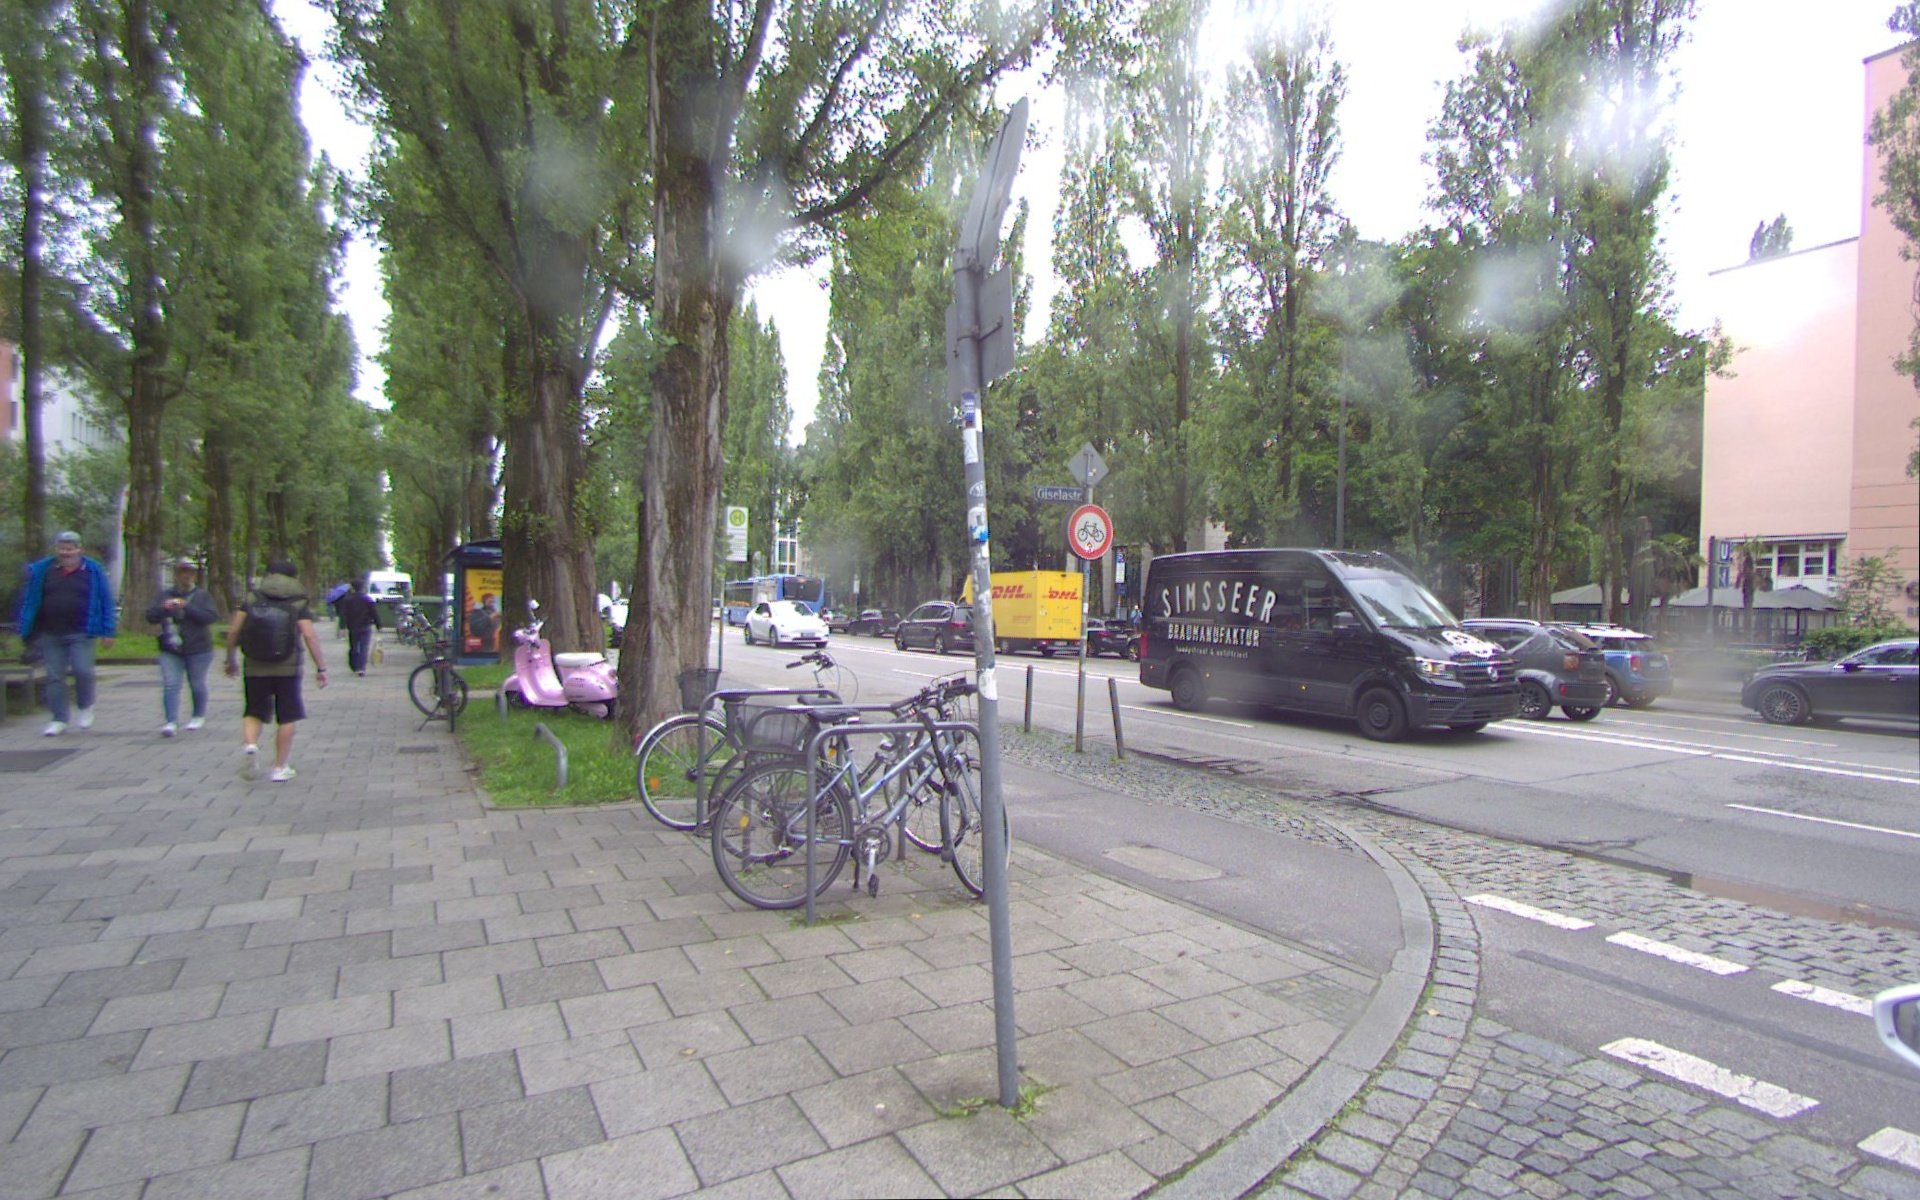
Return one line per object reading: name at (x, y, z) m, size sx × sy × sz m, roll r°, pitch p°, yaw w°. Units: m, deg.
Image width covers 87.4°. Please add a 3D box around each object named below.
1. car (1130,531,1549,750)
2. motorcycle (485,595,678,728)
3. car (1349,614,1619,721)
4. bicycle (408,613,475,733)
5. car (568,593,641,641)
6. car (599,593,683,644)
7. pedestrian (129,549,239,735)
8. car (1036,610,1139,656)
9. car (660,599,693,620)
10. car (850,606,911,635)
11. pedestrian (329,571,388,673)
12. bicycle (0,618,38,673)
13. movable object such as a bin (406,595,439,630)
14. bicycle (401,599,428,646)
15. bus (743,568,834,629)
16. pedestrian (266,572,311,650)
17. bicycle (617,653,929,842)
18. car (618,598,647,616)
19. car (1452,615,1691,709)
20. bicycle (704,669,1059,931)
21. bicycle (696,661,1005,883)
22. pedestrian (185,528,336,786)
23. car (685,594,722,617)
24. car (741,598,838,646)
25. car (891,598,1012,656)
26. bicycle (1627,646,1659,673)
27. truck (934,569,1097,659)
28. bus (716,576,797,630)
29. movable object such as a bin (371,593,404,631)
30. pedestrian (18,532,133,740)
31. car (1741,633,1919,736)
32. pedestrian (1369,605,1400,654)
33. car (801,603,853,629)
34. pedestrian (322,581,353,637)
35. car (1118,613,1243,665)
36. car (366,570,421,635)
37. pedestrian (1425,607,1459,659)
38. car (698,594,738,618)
car at (5.227, 0.464, 14.958) m, size 2.058 × 2.590 × 5.884 m, roll 0°, pitch 0°, yaw -30°
motorcycle at (-4.234, 0.652, 11.234) m, size 1.952 × 1.211 × 0.630 m, roll 6°, pitch 1°, yaw 16°
car at (8.861, 1.074, 17.298) m, size 1.826 × 1.547 × 3.725 m, roll 2°, pitch -1°, yaw -28°
bicycle at (-5.767, 0.758, 11.135) m, size 0.576 × 1.204 × 1.603 m, roll 1°, pitch 0°, yaw -30°
car at (-14.057, 0.689, 39.613) m, size 1.990 × 1.780 × 3.967 m, roll 1°, pitch -2°, yaw -31°
car at (-10.797, 0.597, 33.845) m, size 1.988 × 1.602 × 3.970 m, roll 1°, pitch 0°, yaw -29°
pedestrian at (-7.665, 0.393, 9.928) m, size 0.634 × 1.750 × 0.701 m, roll 1°, pitch 0°, yaw 36°
car at (4.612, 1.183, 36.839) m, size 1.772 × 1.431 × 3.851 m, roll 2°, pitch 1°, yaw -29°
car at (-25.605, 0.831, 90.701) m, size 1.976 × 1.745 × 4.089 m, roll 3°, pitch -1°, yaw -29°
car at (-4.201, 1.061, 52.651) m, size 1.772 × 1.431 × 3.851 m, roll 1°, pitch 0°, yaw -29°
pedestrian at (-10.647, 0.386, 17.795) m, size 0.849 × 1.734 × 0.950 m, roll 1°, pitch 0°, yaw -32°
bicycle at (-16.970, 0.768, 17.104) m, size 1.782 × 0.925 × 0.615 m, roll 1°, pitch 0°, yaw -33°
movable object such as a bin at (-21.194, 0.496, 39.593) m, size 1.052 × 1.329 × 0.975 m, roll 1°, pitch 0°, yaw -33°
bicycle at (-14.890, 0.595, 27.396) m, size 0.576 × 1.204 × 2.124 m, roll 1°, pitch 0°, yaw -29°
bus at (-9.635, -0.025, 55.702) m, size 2.887 × 3.092 × 8.465 m, roll 1°, pitch -1°, yaw -25°
pedestrian at (-15.098, 0.246, 22.610) m, size 0.726 × 1.715 × 0.642 m, roll 1°, pitch 0°, yaw -26°
bicycle at (-1.209, 0.918, 6.656) m, size 1.957 × 1.108 × 0.488 m, roll 1°, pitch 0°, yaw -25°
car at (-34.786, 0.755, 106.654) m, size 1.976 × 1.745 × 4.779 m, roll 3°, pitch -1°, yaw -29°
car at (13.057, 1.260, 21.706) m, size 1.773 × 1.754 × 4.044 m, roll 3°, pitch -1°, yaw -31°
bicycle at (-0.366, 0.917, 4.990) m, size 1.680 × 1.108 × 0.488 m, roll 1°, pitch 0°, yaw -25°
bicycle at (-0.607, 0.919, 5.751) m, size 1.680 × 1.108 × 0.488 m, roll 1°, pitch 0°, yaw -25°
pedestrian at (-5.159, 0.411, 7.462) m, size 0.742 × 1.796 × 0.701 m, roll 2°, pitch -1°, yaw -25°
car at (-21.057, 0.457, 82.409) m, size 1.976 × 1.745 × 4.089 m, roll 3°, pitch -1°, yaw -29°
car at (-6.143, 0.718, 35.820) m, size 1.976 × 1.596 × 4.602 m, roll 0°, pitch 0°, yaw -30°
car at (-0.370, 0.845, 33.566) m, size 1.976 × 1.745 × 4.779 m, roll 3°, pitch -1°, yaw -29°
bicycle at (21.207, 1.848, 31.181) m, size 1.015 × 0.809 × 0.323 m, roll 1°, pitch 0°, yaw -24°
truck at (1.813, 0.461, 36.453) m, size 2.569 × 2.946 × 7.027 m, roll 1°, pitch 0°, yaw -28°
bus at (-12.887, 0.228, 62.841) m, size 2.887 × 3.092 × 9.738 m, roll 1°, pitch -1°, yaw -24°
movable object such as a bin at (-22.015, 0.451, 38.637) m, size 1.052 × 1.423 × 0.975 m, roll 1°, pitch 0°, yaw -33°
pedestrian at (-8.651, 0.336, 9.828) m, size 0.634 × 1.933 × 0.701 m, roll 1°, pitch 0°, yaw 36°
car at (15.926, 1.400, 16.571) m, size 1.772 × 1.549 × 4.479 m, roll 1°, pitch 0°, yaw -29°
pedestrian at (15.310, 1.042, 36.239) m, size 0.700 × 1.736 × 0.726 m, roll 1°, pitch 0°, yaw -29°
car at (-7.880, 0.927, 59.273) m, size 1.772 × 1.431 × 3.851 m, roll 1°, pitch 0°, yaw -29°
pedestrian at (-19.435, 0.280, 31.391) m, size 0.726 × 1.715 × 0.642 m, roll 1°, pitch 0°, yaw -26°
car at (6.956, 1.206, 32.034) m, size 1.772 × 1.431 × 3.851 m, roll 2°, pitch 0°, yaw -29°
car at (-28.374, 0.112, 50.189) m, size 2.175 × 3.057 × 5.949 m, roll 1°, pitch 0°, yaw -31°
pedestrian at (16.239, 1.103, 33.829) m, size 0.700 × 1.736 × 0.726 m, roll 1°, pitch 0°, yaw -29°
car at (-18.941, 0.433, 78.487) m, size 1.976 × 1.745 × 4.089 m, roll 3°, pitch -1°, yaw -29°
